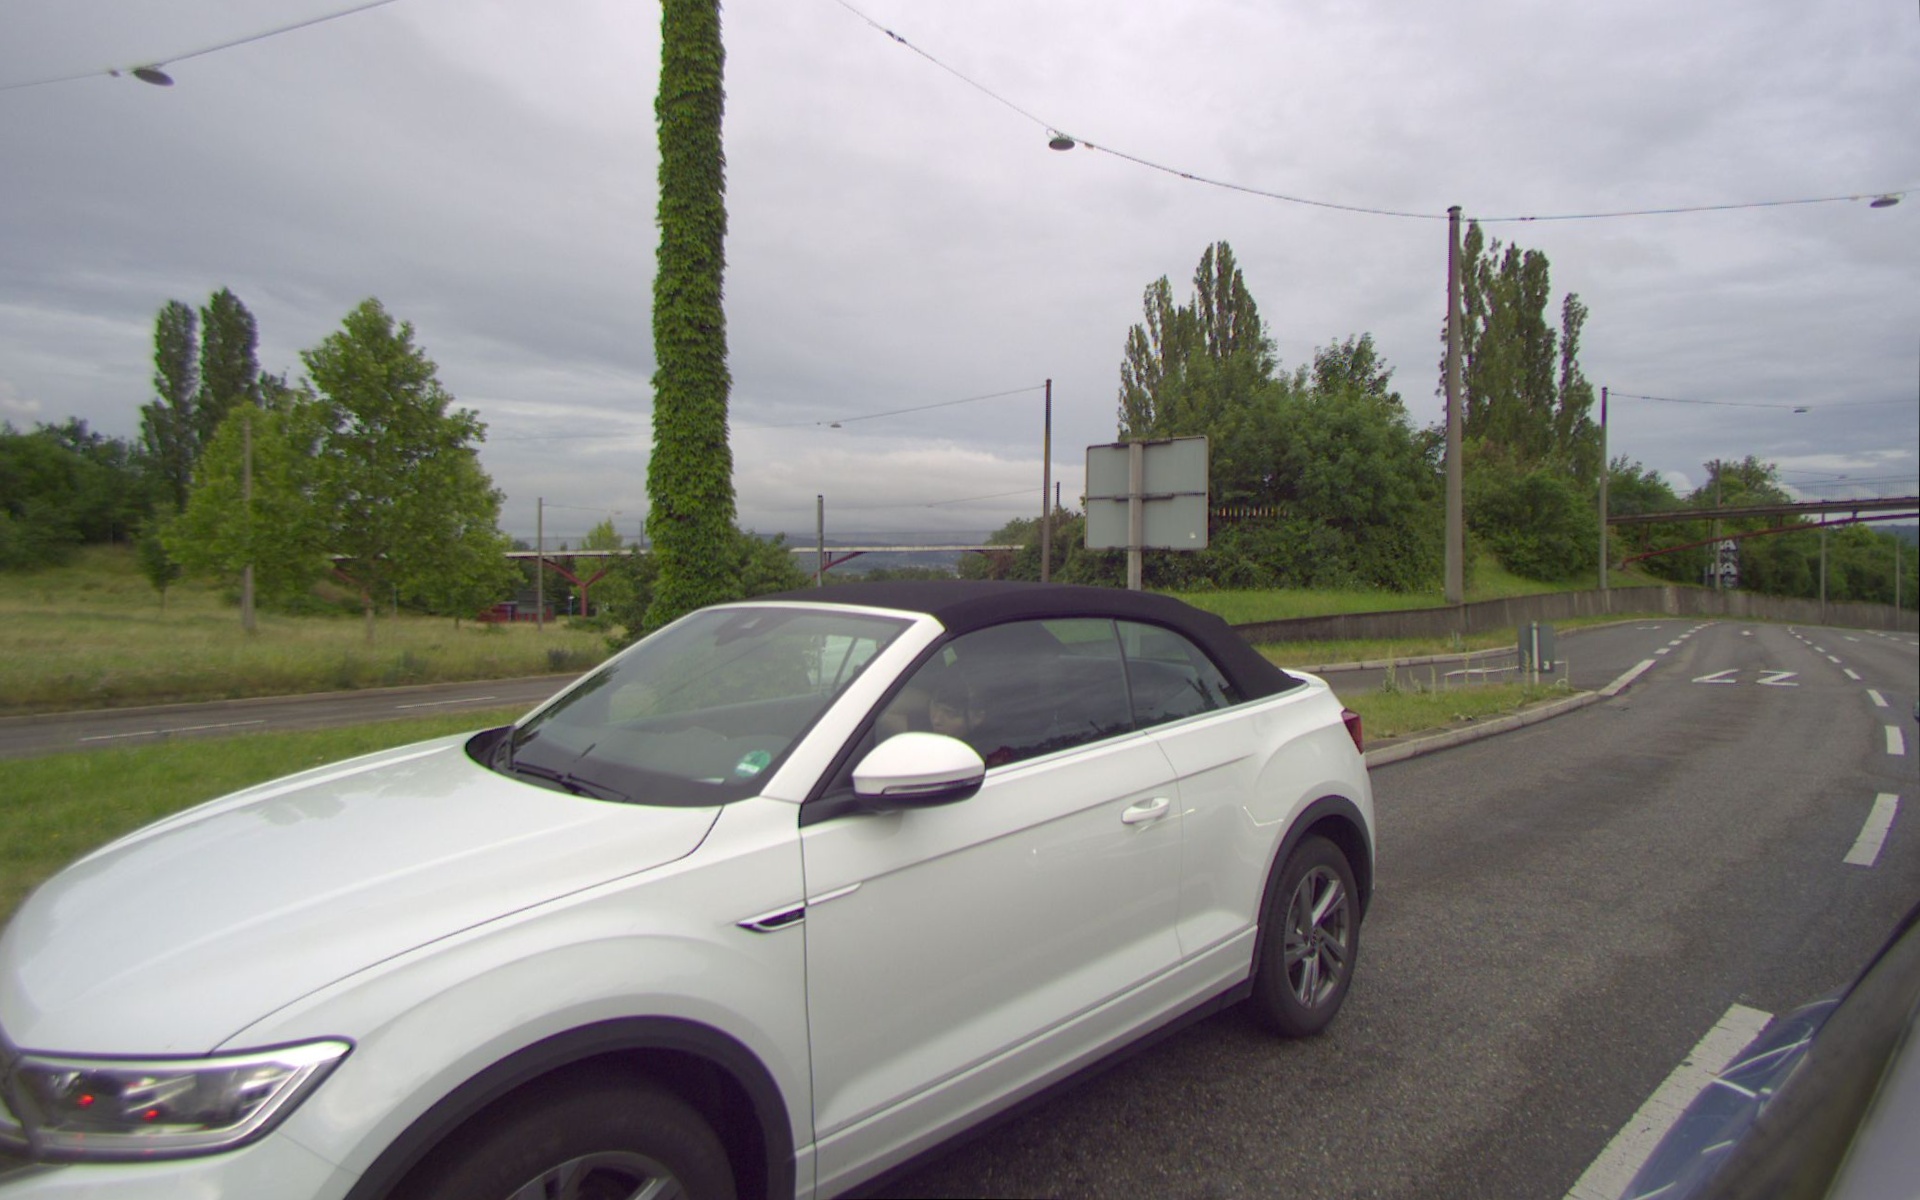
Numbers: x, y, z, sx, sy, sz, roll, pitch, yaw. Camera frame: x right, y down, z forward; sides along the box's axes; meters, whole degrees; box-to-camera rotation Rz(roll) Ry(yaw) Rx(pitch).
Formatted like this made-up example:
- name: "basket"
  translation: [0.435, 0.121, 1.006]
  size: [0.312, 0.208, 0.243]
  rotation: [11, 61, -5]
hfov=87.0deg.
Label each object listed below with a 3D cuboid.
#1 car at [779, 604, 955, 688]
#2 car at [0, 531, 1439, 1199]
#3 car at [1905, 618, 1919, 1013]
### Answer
- name: "car"
  translation: [-2.406, 1.112, 25.008]
  size: [1.964, 1.872, 4.816]
  rotation: [0, -2, -39]
- name: "car"
  translation: [-0.264, 0.673, 3.082]
  size: [4.159, 1.572, 1.715]
  rotation: [-1, 1, -43]
- name: "car"
  translation: [5.511, 0.747, 4.195]
  size: [4.062, 1.385, 1.893]
  rotation: [-1, 1, -41]
